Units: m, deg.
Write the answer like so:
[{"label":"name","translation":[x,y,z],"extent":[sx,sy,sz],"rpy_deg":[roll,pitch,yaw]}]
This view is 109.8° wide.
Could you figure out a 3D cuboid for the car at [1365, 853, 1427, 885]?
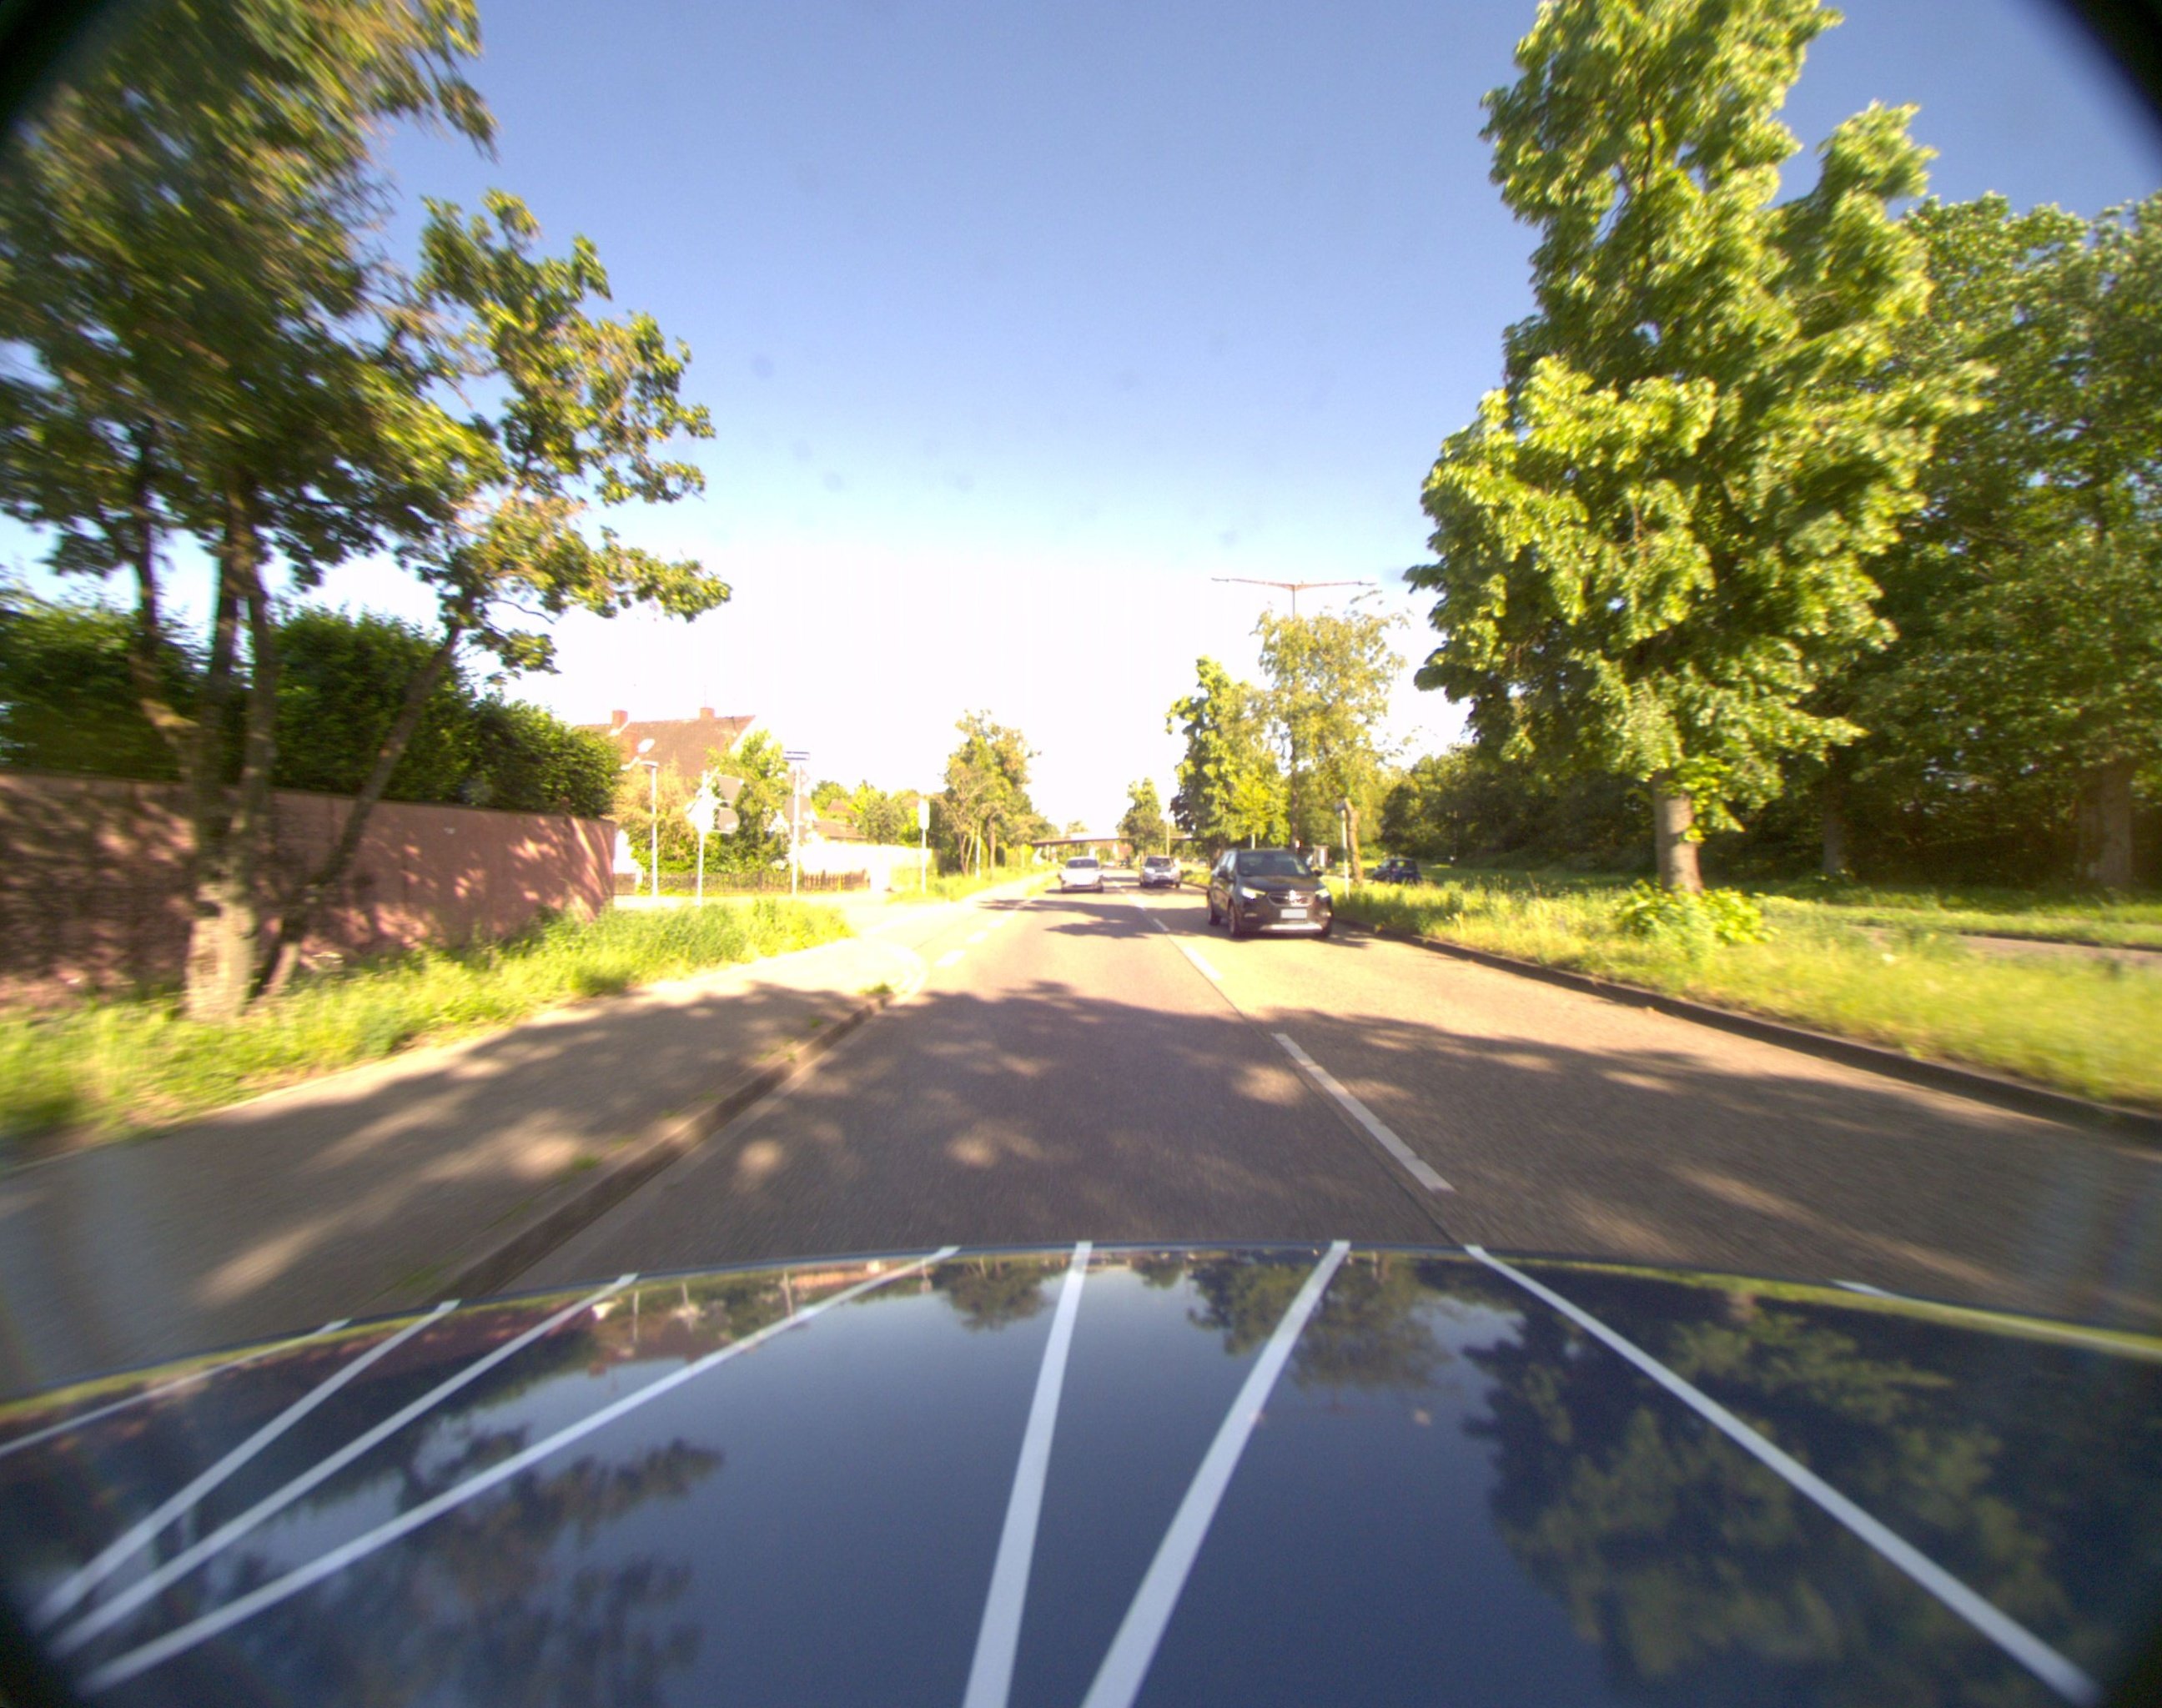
[{"label":"car","translation":[16.814,0.773,40.748],"extent":[1.733,1.569,3.747],"rpy_deg":[2,0,1]}]

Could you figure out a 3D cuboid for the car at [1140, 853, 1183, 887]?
[{"label":"car","translation":[3.959,0.770,38.118],"extent":[1.789,1.600,4.106],"rpy_deg":[0,0,1]}]

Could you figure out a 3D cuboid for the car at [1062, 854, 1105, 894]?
[{"label":"car","translation":[0.132,0.873,34.724],"extent":[1.766,1.606,4.297],"rpy_deg":[-2,1,1]}]

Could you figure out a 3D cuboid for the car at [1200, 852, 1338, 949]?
[{"label":"car","translation":[3.534,0.781,15.082],"extent":[1.700,1.622,4.417],"rpy_deg":[0,0,1]}]

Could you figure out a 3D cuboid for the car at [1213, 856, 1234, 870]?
[{"label":"car","translation":[16.107,0.987,86.016],"extent":[1.733,1.569,3.747],"rpy_deg":[2,0,1]}]
